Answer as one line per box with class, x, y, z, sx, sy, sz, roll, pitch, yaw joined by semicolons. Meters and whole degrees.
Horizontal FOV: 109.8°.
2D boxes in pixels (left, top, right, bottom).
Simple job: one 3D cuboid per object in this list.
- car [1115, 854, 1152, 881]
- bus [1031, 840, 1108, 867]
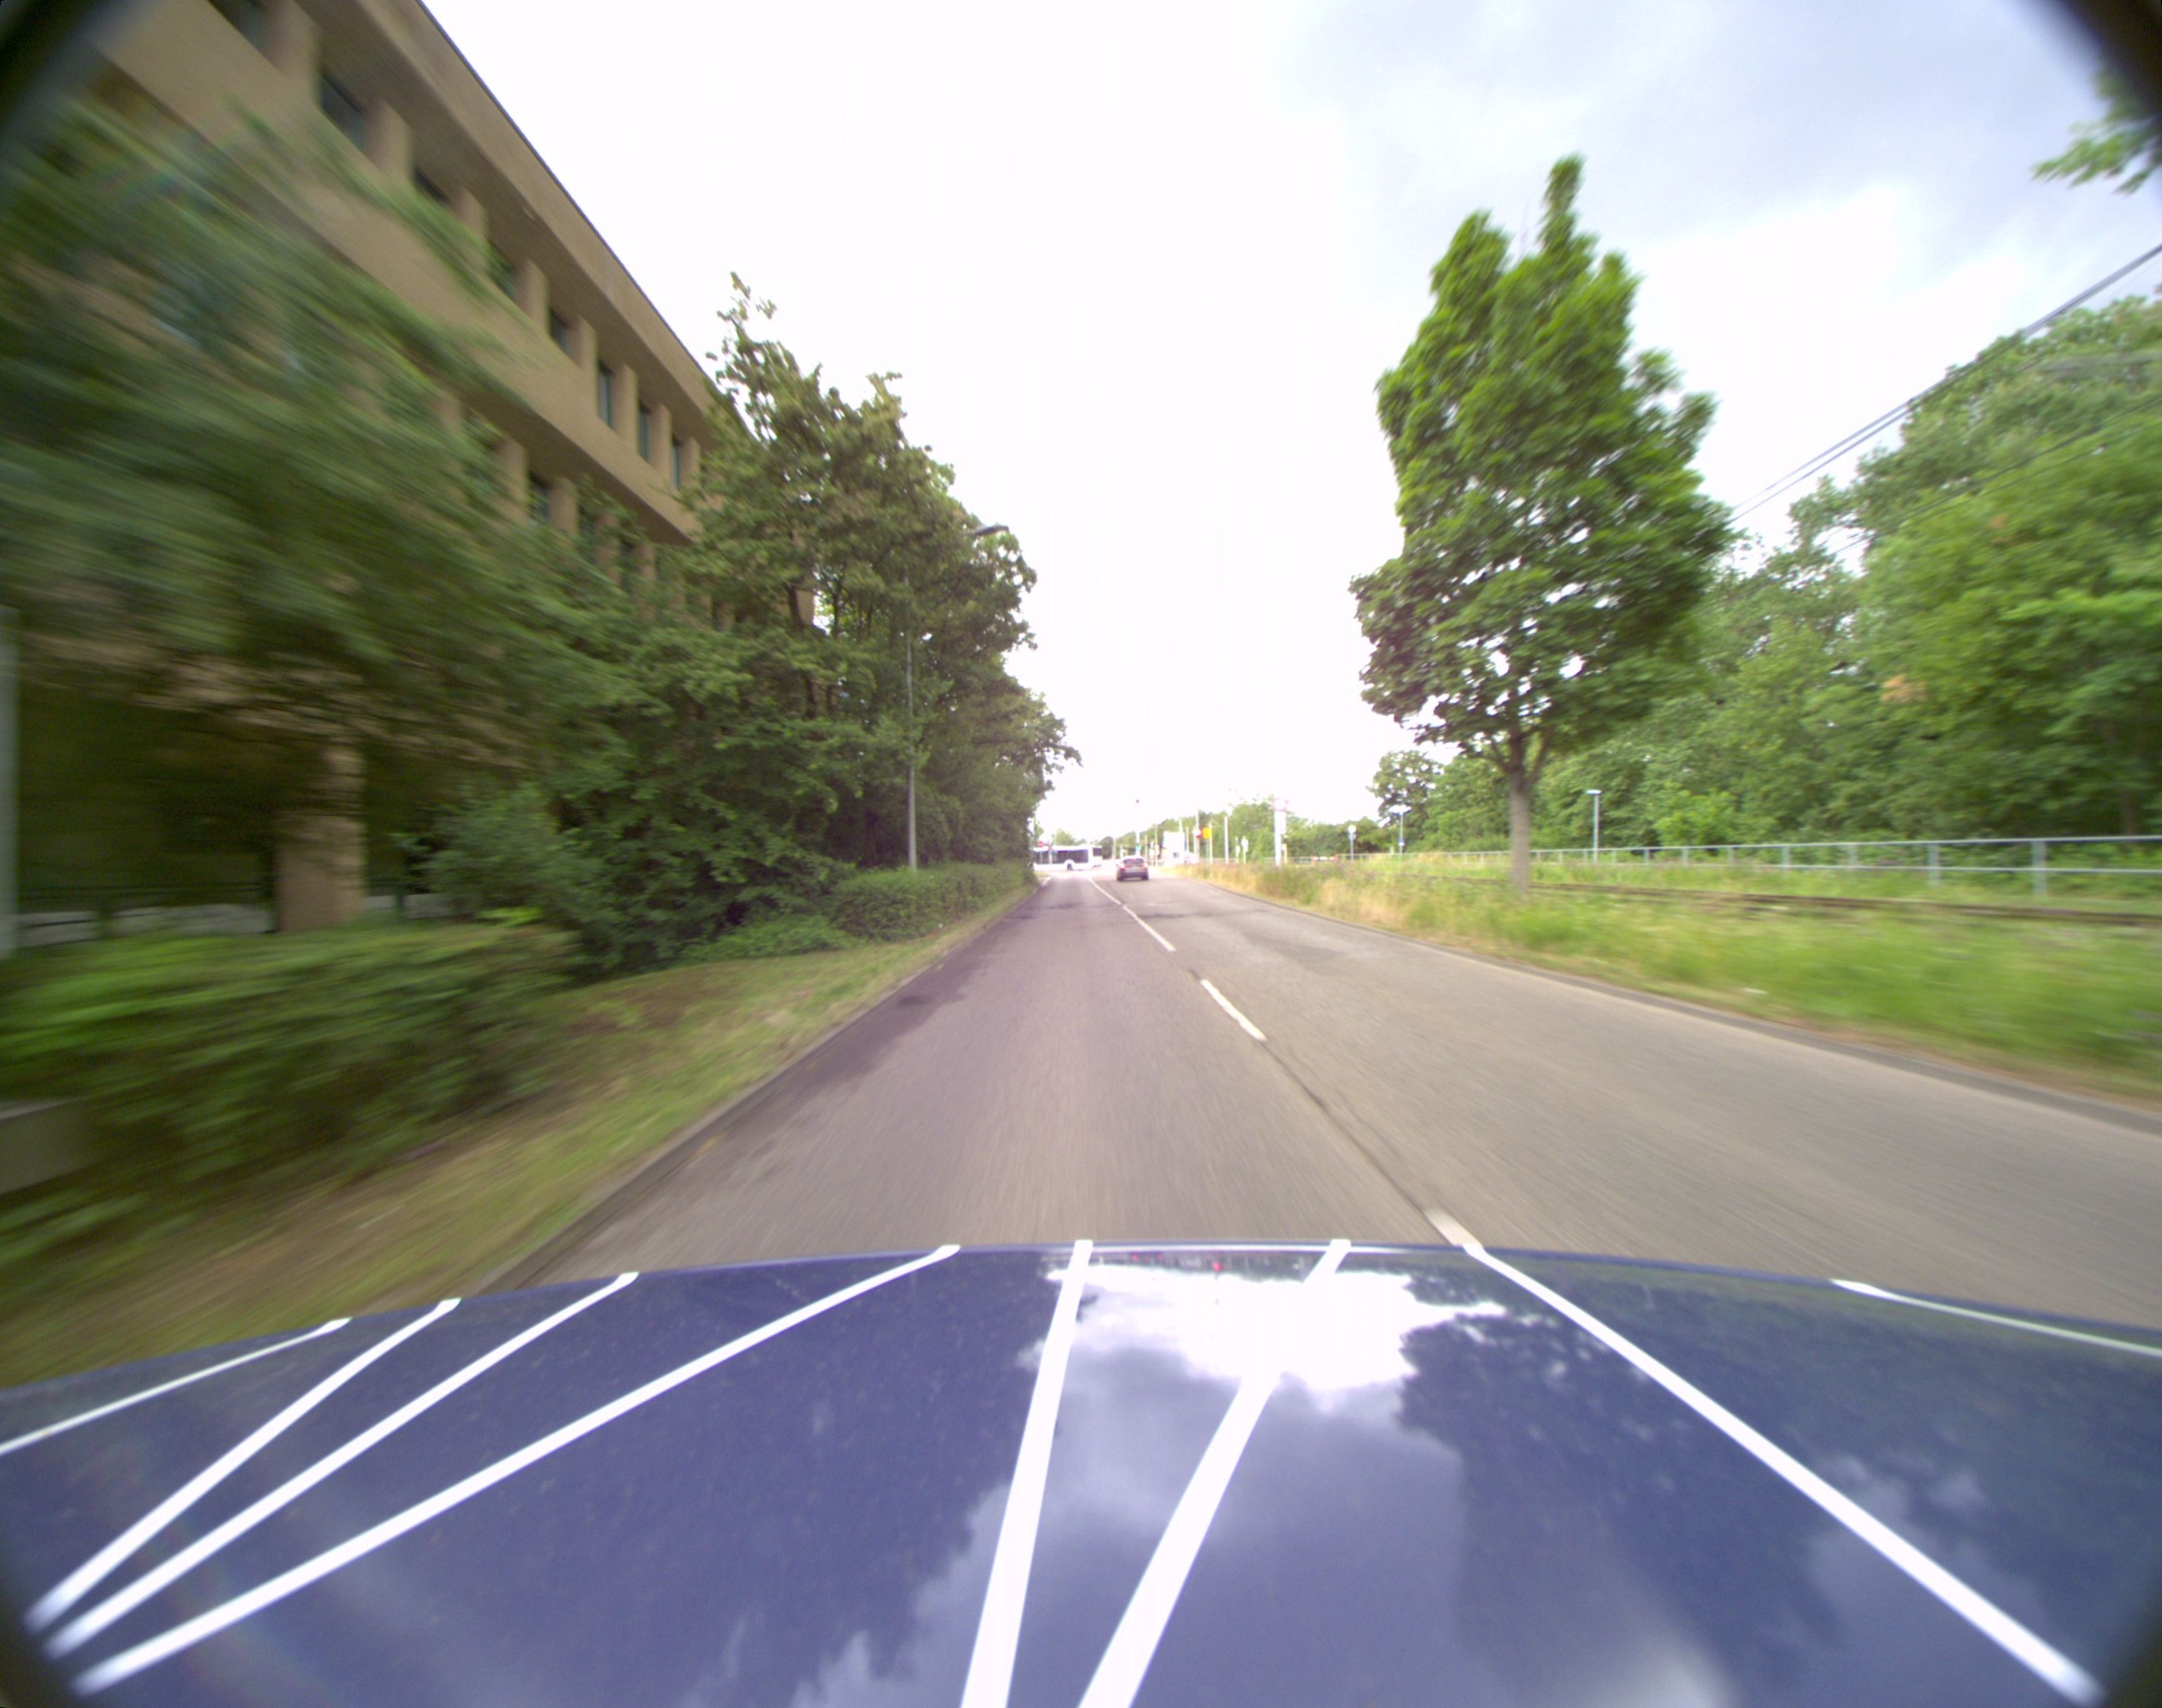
car;3.169;0.795;46.417;2.038;1.508;3.654;-3;0;1
bus;-1.547;-0.001;97.335;9.852;3.049;3.174;-3;0;36
